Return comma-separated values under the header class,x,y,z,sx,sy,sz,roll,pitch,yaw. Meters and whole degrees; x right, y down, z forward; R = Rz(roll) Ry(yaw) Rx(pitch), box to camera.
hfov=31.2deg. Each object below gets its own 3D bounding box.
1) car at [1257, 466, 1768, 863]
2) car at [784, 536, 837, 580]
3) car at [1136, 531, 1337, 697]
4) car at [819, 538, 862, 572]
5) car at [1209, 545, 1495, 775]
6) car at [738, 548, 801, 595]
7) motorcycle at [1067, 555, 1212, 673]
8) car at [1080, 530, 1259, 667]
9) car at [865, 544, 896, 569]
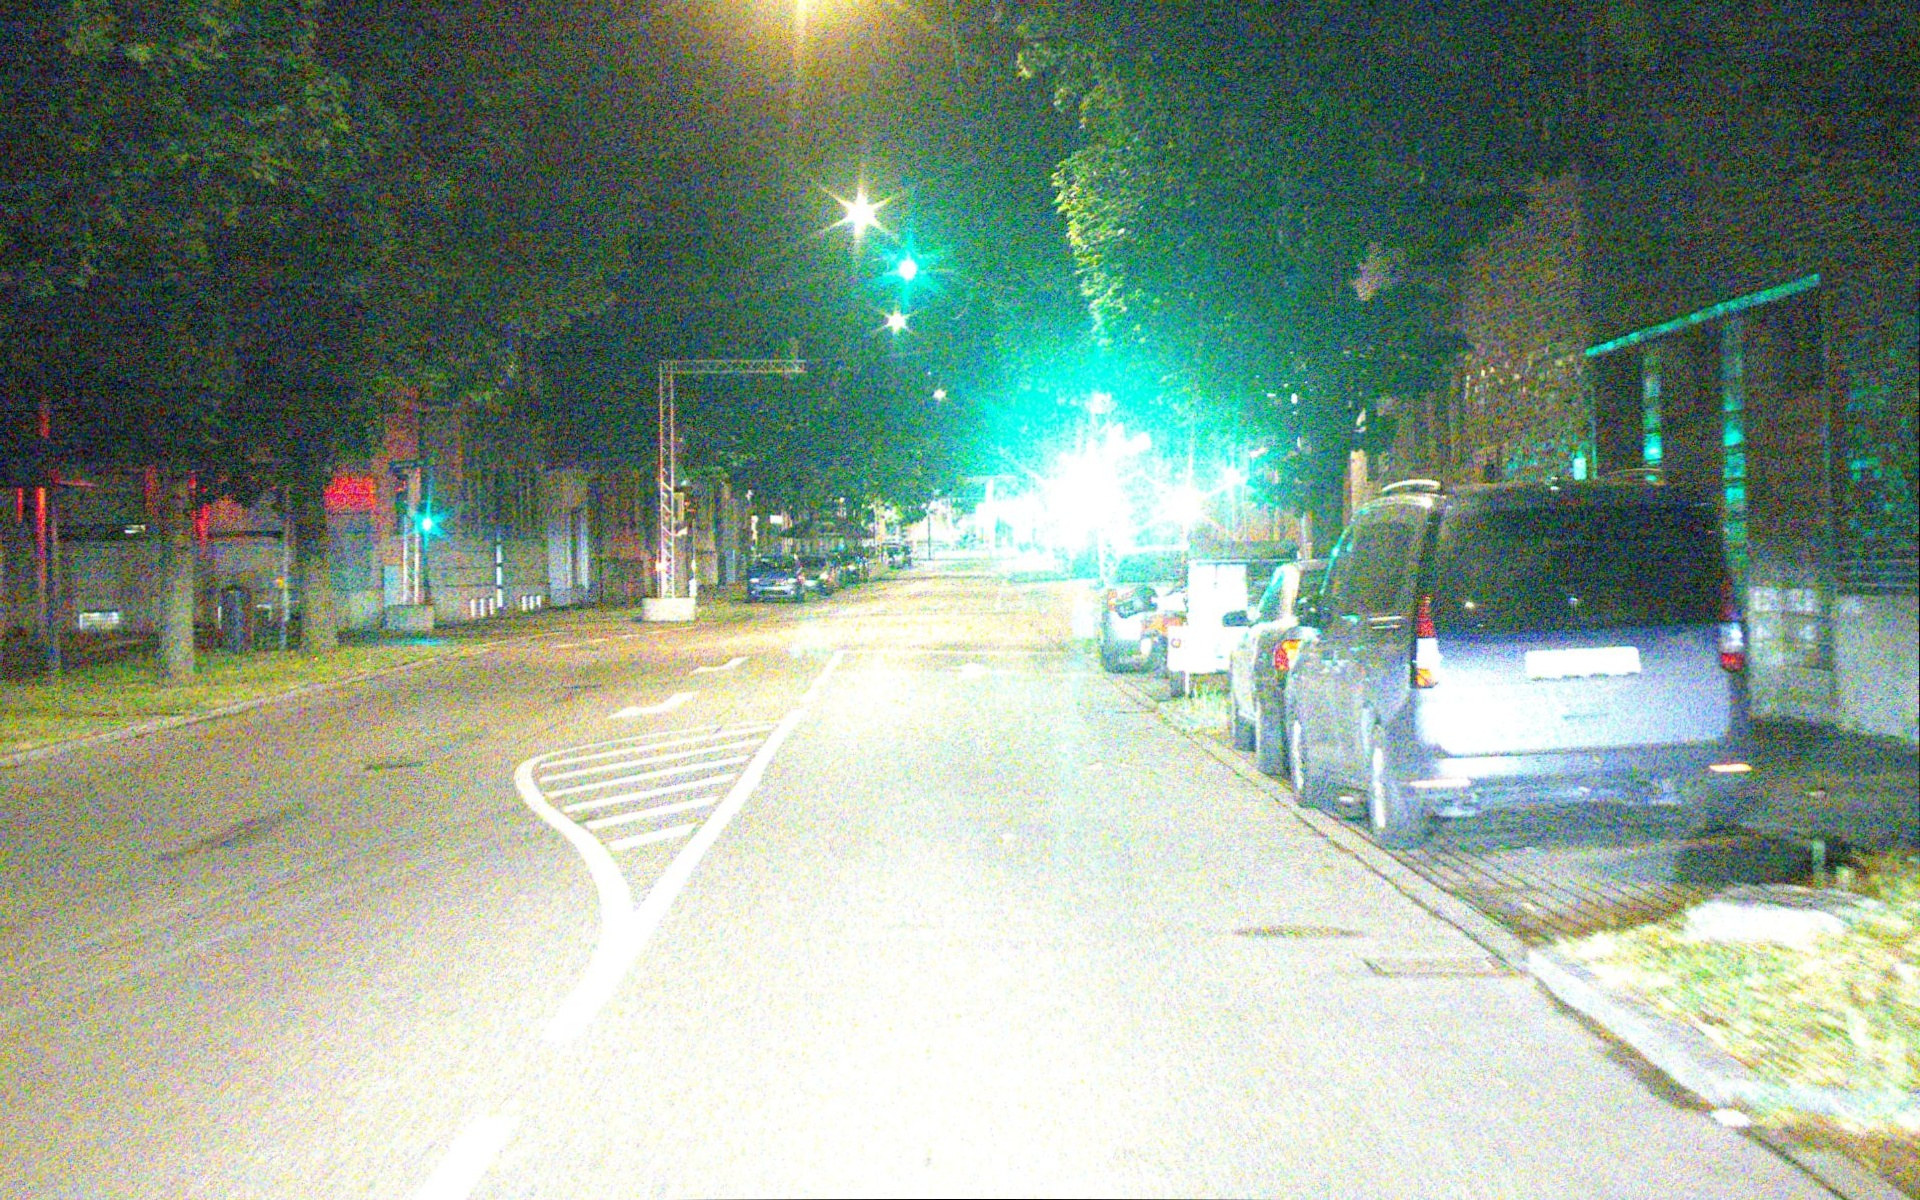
class,x,y,z,sx,sy,sz,roll,pitch,yaw
car,2.807,0.265,18.434,1.771,1.800,4.278,-3,1,-3
car,-5.278,-1.488,121.767,1.740,1.411,3.753,-1,3,0
car,2.781,0.092,35.277,1.591,1.529,4.138,-3,1,-1
car,-5.181,-1.965,149.303,1.740,1.411,3.752,-1,1,0
car,2.650,0.355,23.989,1.520,1.391,3.984,-2,1,0
car,-5.867,-0.897,106.323,1.740,1.411,3.752,-1,1,0
motorcycle,2.035,0.142,38.648,0.637,1.265,2.060,0,1,34
car,2.550,-0.060,42.751,1.853,1.584,4.301,-1,1,-1
car,-4.736,-2.611,205.586,1.740,1.411,3.752,-1,1,0
